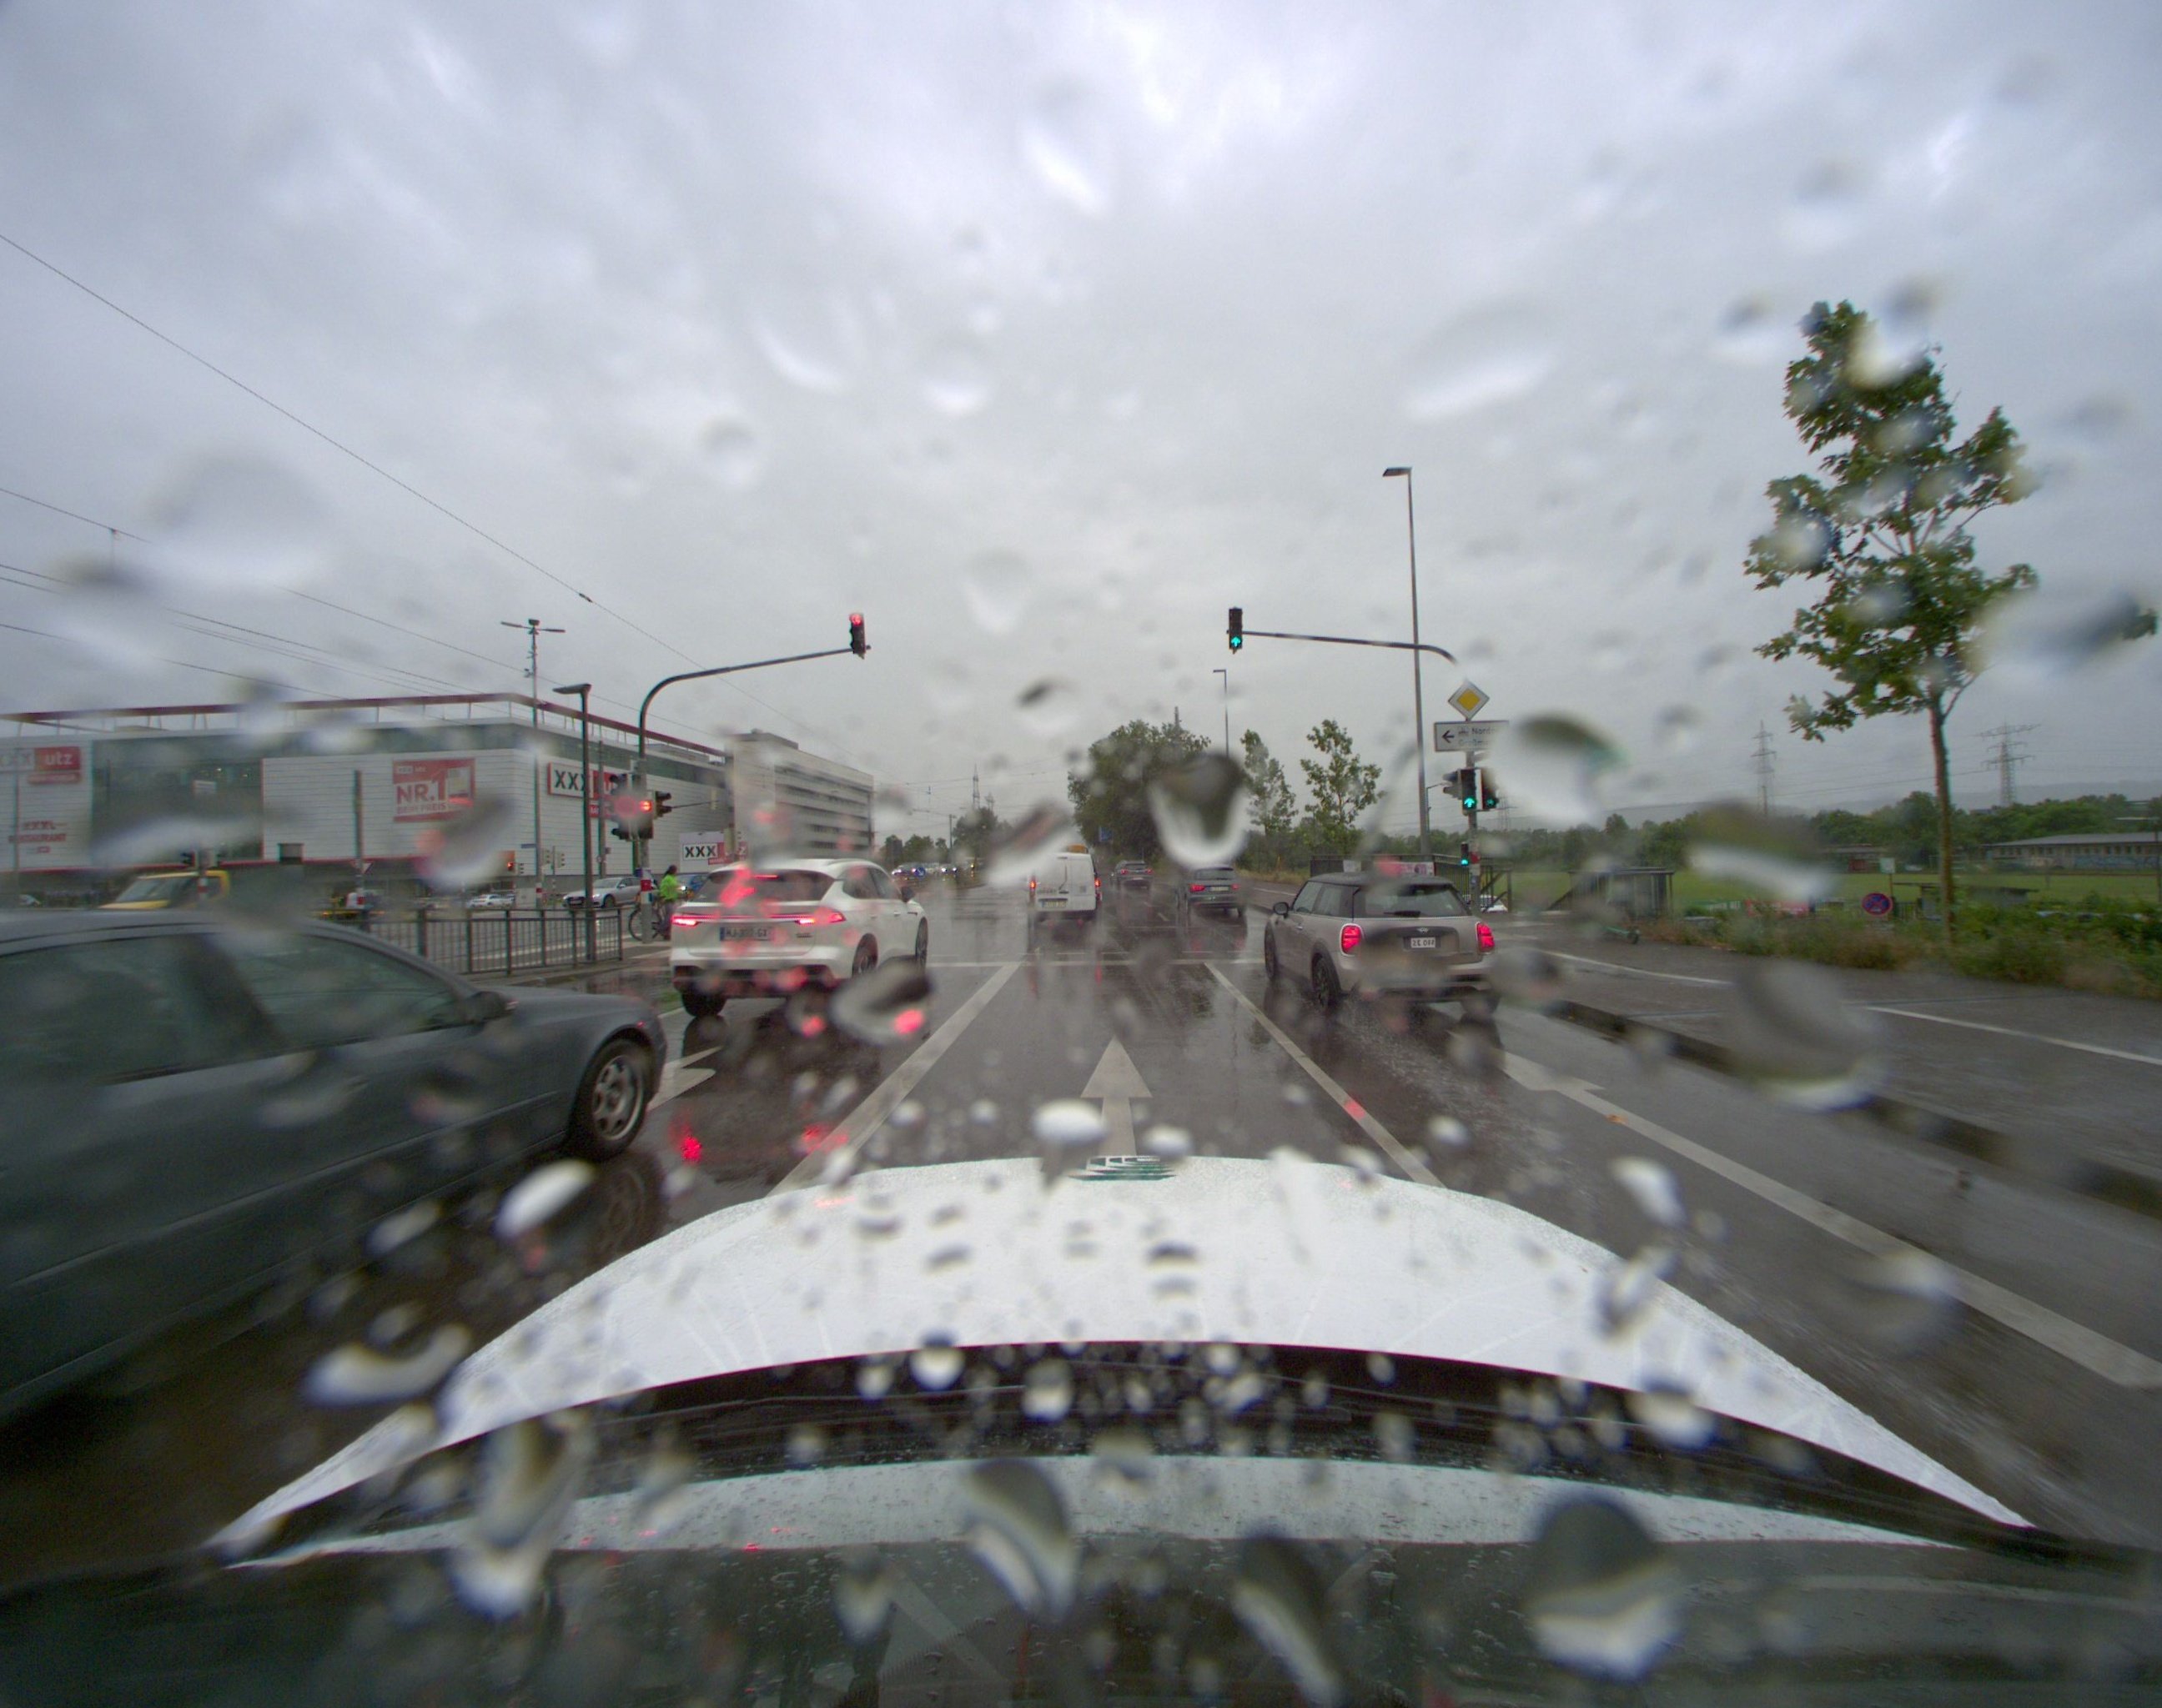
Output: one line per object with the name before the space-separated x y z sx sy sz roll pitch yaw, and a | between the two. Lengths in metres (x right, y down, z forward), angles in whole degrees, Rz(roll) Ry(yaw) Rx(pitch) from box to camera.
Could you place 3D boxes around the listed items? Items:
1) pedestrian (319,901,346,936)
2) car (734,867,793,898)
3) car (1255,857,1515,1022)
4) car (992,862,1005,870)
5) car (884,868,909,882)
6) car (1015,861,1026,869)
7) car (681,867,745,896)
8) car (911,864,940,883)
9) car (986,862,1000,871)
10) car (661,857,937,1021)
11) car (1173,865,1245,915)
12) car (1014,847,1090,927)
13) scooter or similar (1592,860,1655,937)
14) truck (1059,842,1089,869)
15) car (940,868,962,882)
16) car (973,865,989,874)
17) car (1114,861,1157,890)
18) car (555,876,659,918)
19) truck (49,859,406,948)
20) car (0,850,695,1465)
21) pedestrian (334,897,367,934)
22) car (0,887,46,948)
pedestrian | -32.730 2.817 35.609 0.561 1.497 0.650 0 -2 1
car | -19.553 1.768 50.349 1.837 1.798 4.003 -2 -3 4
car | 3.186 0.818 9.327 1.707 1.508 3.625 0 -1 2
car | -16.927 2.541 168.107 1.984 1.587 4.004 -1 -1 4
car | -21.215 2.401 93.726 1.762 1.487 3.844 -1 -1 4
car | -13.576 2.513 182.438 1.984 1.757 4.004 -1 -1 4
car | -22.031 1.683 48.881 1.720 1.661 3.545 0 -4 10
car | -17.184 2.126 90.083 1.983 2.014 4.006 -1 -1 6
car | -17.285 2.533 160.409 1.984 1.708 4.004 -1 -1 4
car | -3.044 0.819 9.832 1.722 1.535 4.299 0 0 2
car | 3.651 0.997 23.692 1.623 1.344 3.625 0 -1 2
car | -0.632 0.781 20.489 1.560 1.788 4.002 -1 -1 3
scooter or similar | 8.533 0.683 12.847 0.244 1.158 1.187 -1 -1 4
truck | -0.844 0.237 88.318 2.628 2.816 7.131 -1 -1 -5
car | -16.370 2.655 102.775 1.815 1.807 3.773 -1 -1 4
car | -17.851 2.765 145.688 1.984 1.663 4.004 -1 -1 4
car | 2.760 1.077 41.936 1.854 1.428 3.805 0 0 -1
car | -20.760 1.834 35.878 1.882 1.699 4.007 -1 -1 7
truck | -25.240 1.365 24.868 2.340 2.279 7.643 -1 -1 5
car | -3.329 0.721 2.768 1.756 1.398 4.644 0 -2 1
pedestrian | -30.688 2.578 34.234 0.561 1.537 0.873 0 -2 1
car | -37.735 2.125 27.023 4.297 2.014 2.001 0 -1 2
